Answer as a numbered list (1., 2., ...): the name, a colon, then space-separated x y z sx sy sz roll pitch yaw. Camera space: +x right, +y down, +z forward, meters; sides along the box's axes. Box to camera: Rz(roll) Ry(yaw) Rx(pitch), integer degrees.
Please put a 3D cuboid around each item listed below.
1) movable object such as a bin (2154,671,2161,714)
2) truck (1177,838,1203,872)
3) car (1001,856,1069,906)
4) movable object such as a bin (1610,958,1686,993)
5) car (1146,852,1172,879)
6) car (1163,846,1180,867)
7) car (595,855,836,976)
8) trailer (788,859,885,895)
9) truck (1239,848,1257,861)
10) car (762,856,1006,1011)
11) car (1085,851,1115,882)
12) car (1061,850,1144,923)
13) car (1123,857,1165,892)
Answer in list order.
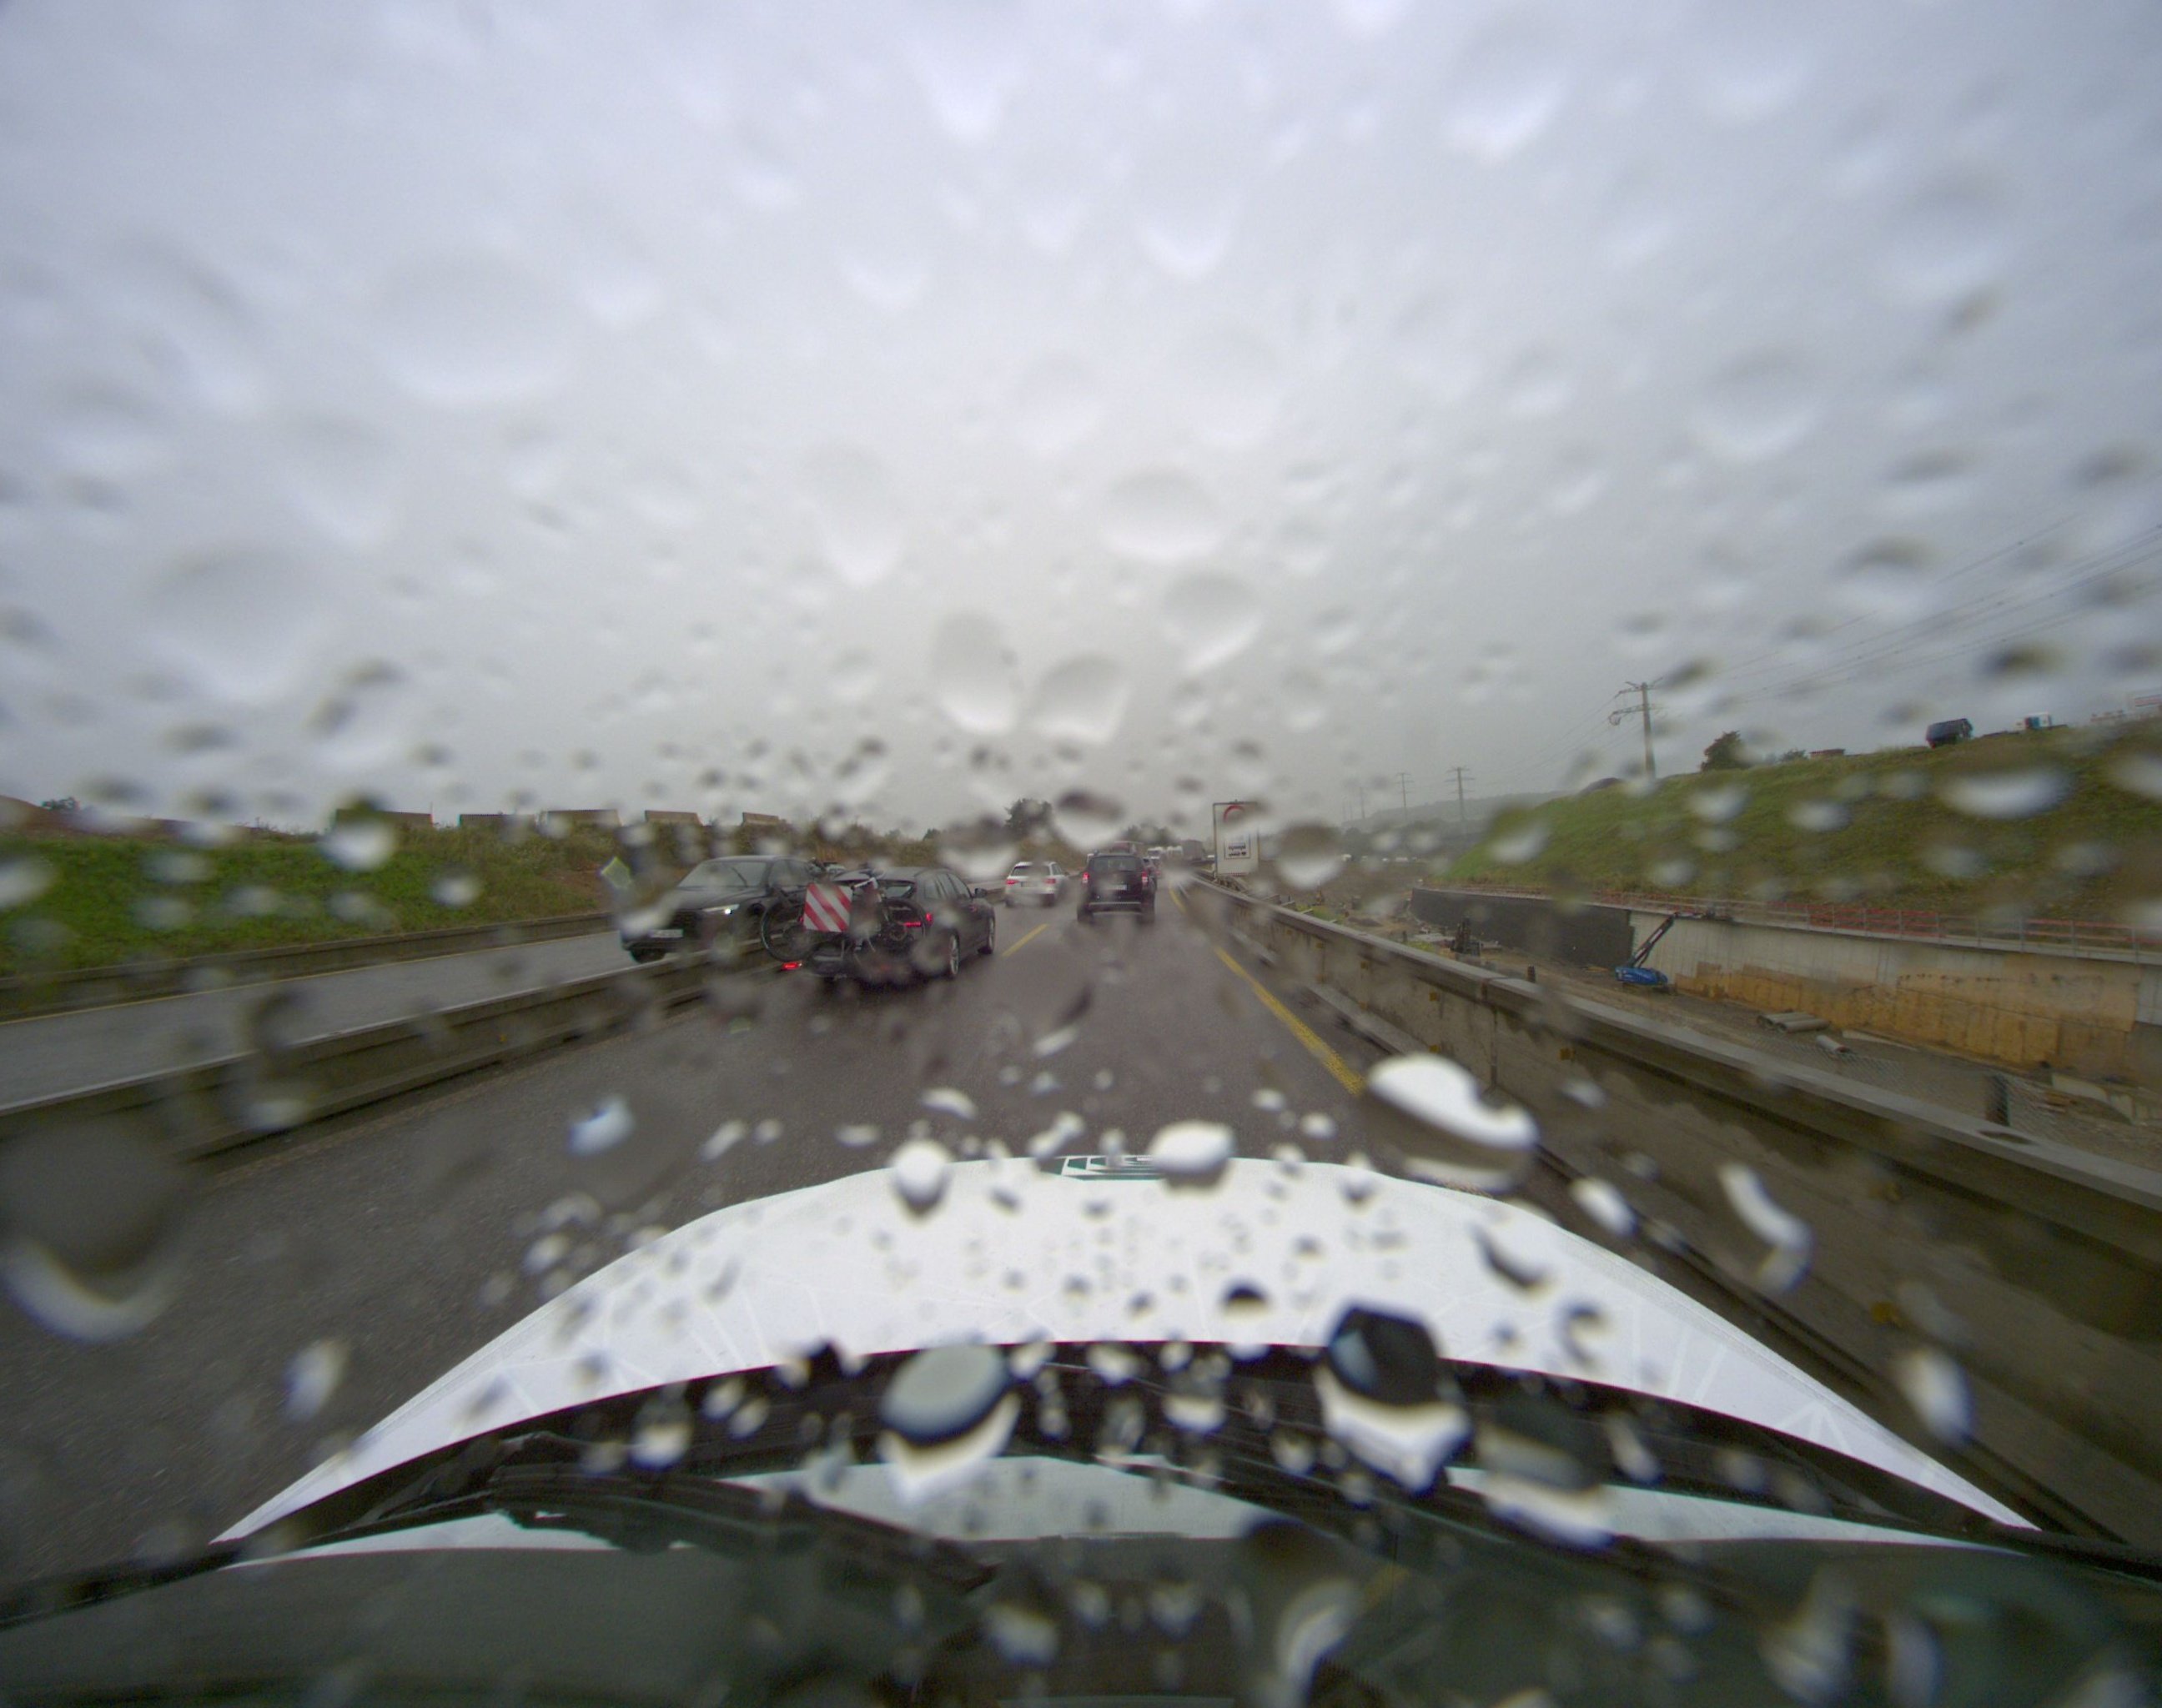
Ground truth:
1. movable object such as a bin: 63.585 -9.365 45.471 2.414 2.443 3.979 -1 1 9
2. truck: 17.140 0.230 127.441 3.522 5.077 10.468 -1 -1 9
3. car: -1.451 0.856 27.097 1.819 1.499 4.003 -1 -1 3
4. movable object such as a bin: 39.503 8.432 56.809 2.008 2.014 3.799 3 -4 -35
5. car: 5.606 0.832 58.635 1.818 1.815 4.005 -1 -1 5
6. car: 11.158 0.349 100.150 1.815 2.437 4.168 -1 -1 9
7. car: -5.812 0.870 13.674 1.815 1.639 4.488 -1 0 3
8. trailer: -8.360 0.755 28.275 1.573 1.088 4.719 -1 0 5
9. truck: 48.773 0.143 237.679 3.441 3.715 8.464 -2 0 23
10. car: -2.343 0.842 11.393 1.727 1.462 5.634 -1 1 3
11. car: 1.238 0.776 51.216 1.819 1.815 4.002 -1 -1 2
12. car: 0.593 0.754 20.099 1.818 1.591 4.003 -1 -1 3
13. car: 2.853 0.926 37.582 1.819 1.499 4.003 -1 -1 3
